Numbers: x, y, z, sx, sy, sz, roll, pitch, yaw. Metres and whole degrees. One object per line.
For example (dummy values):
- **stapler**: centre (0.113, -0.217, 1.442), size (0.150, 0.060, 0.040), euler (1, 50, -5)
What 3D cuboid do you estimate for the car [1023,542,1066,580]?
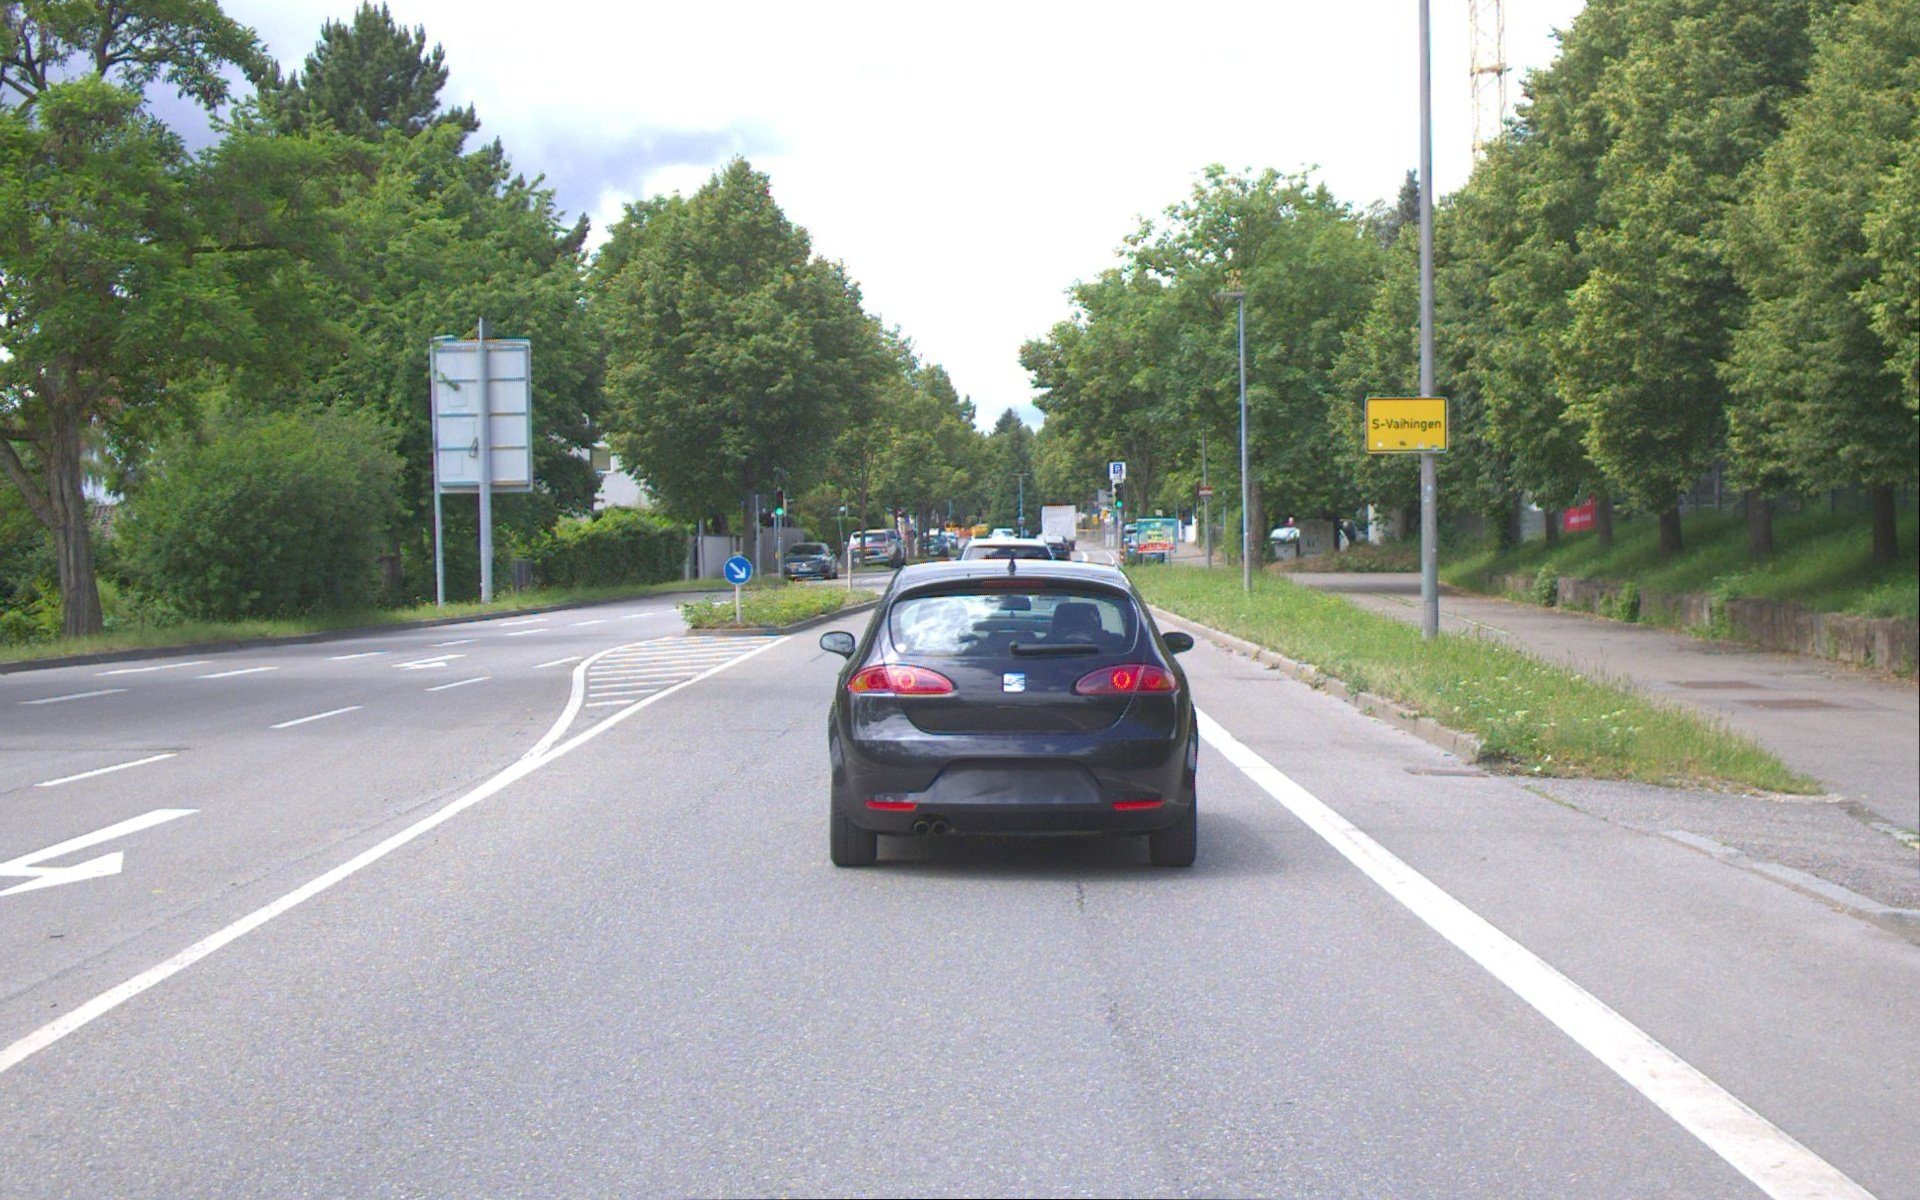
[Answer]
- **car**: centre (3.860, -1.801, 156.505), size (1.881, 1.683, 4.213), euler (-1, 1, 2)

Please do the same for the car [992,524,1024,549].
- **car**: centre (3.400, -4.511, 243.096), size (1.875, 1.629, 4.340), euler (-3, 1, 4)

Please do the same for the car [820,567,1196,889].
- **car**: centre (0.248, 0.553, 17.264), size (1.663, 1.396, 3.812), euler (1, 1, 1)

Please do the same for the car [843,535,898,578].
- **car**: centre (-4.100, -2.026, 158.797), size (2.100, 1.890, 5.784), euler (-3, 1, 2)

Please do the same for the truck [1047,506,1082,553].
- **truck**: centre (7.032, -4.737, 232.240), size (2.279, 3.093, 8.510), euler (1, 1, 2)

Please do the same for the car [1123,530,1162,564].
- **car**: centre (8.094, -2.354, 152.589), size (1.688, 1.485, 3.355), euler (-1, 1, 2)

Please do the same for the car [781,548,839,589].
- **car**: centre (-5.644, -1.200, 129.561), size (1.718, 1.390, 4.801), euler (-3, 1, 2)

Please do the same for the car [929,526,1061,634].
- **car**: centre (0.532, -0.310, 50.513), size (1.846, 1.504, 3.812), euler (1, 1, 1)

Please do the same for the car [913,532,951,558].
- **car**: centre (-1.741, -3.451, 215.834), size (2.100, 1.501, 5.784), euler (-3, 1, 2)
